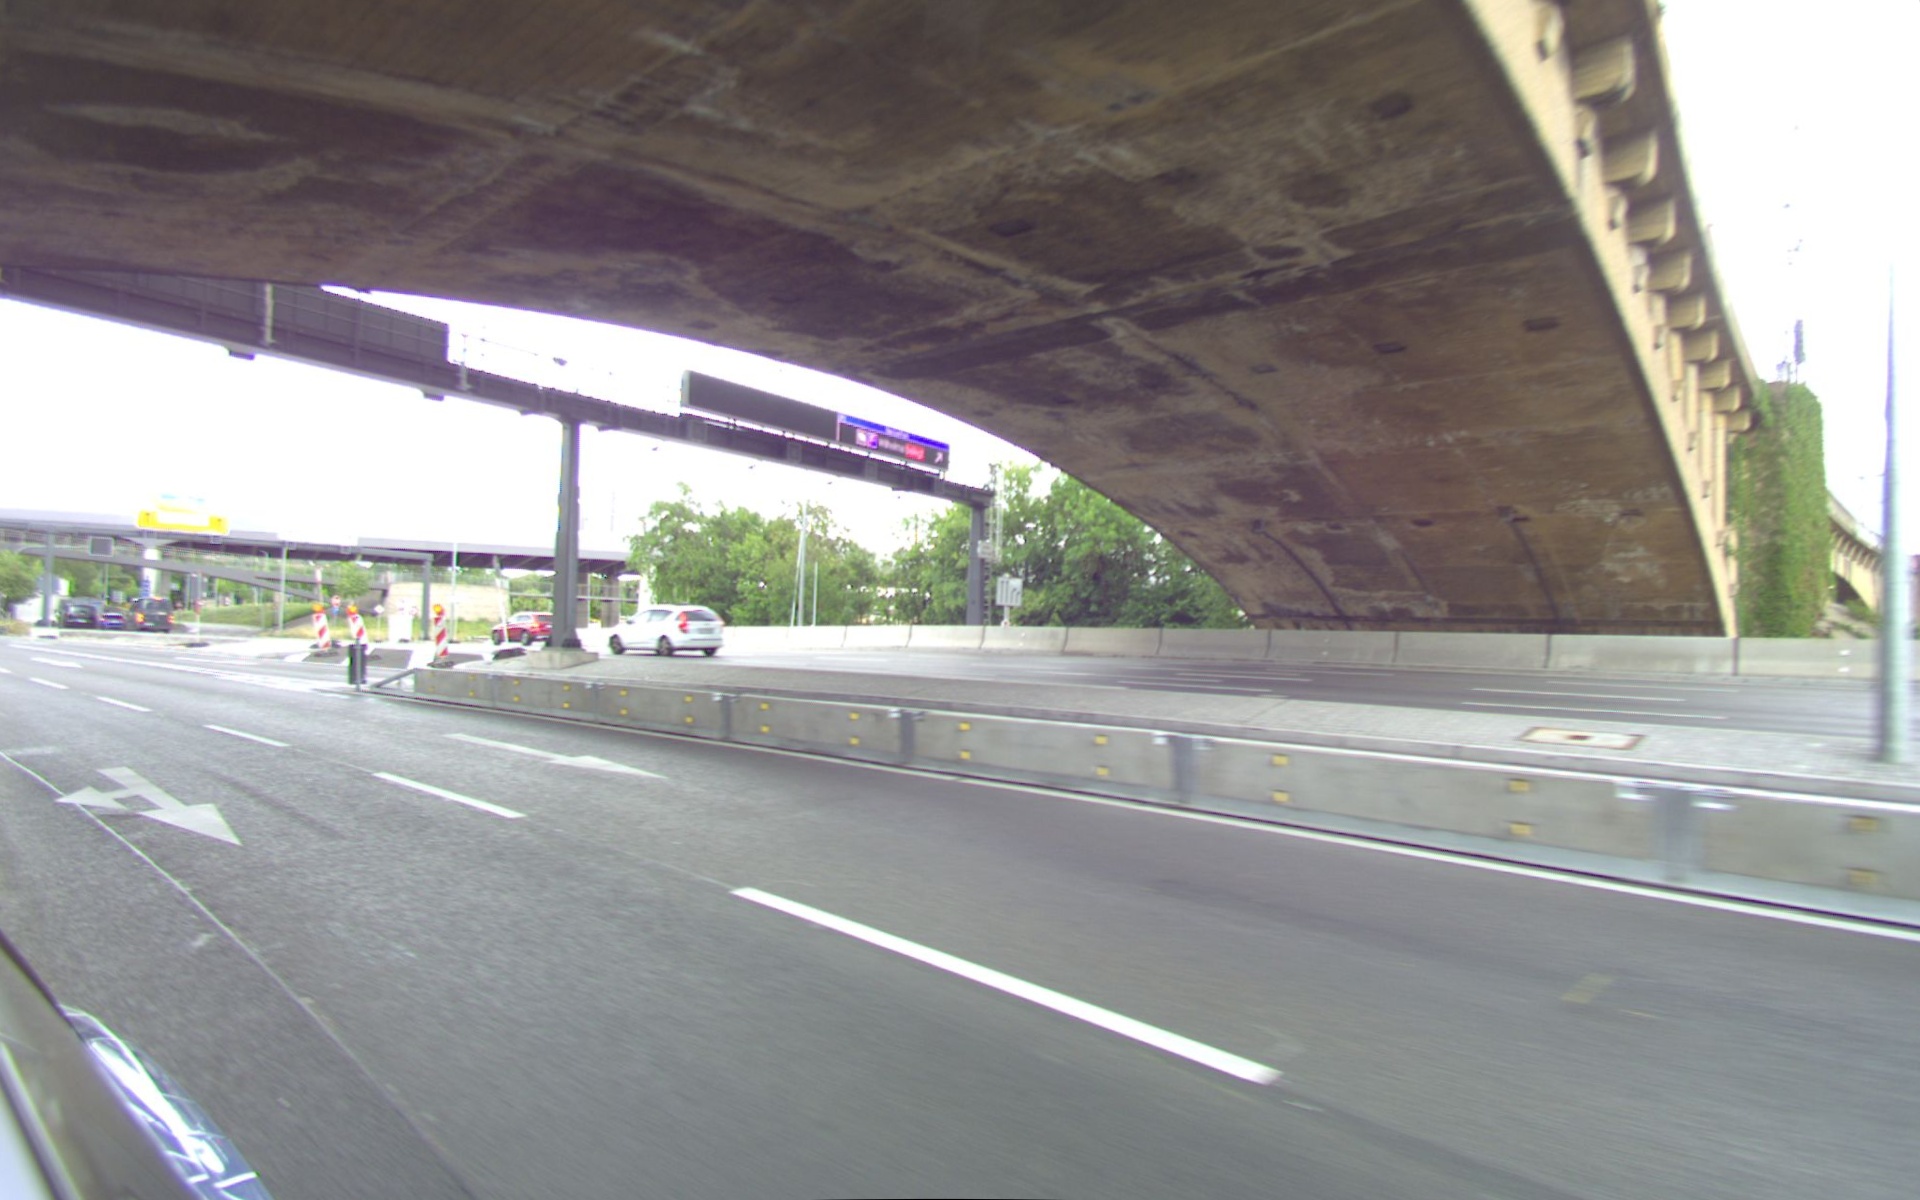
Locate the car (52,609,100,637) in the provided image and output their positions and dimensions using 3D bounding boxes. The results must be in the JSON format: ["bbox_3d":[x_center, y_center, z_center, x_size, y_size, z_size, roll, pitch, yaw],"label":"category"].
[{"bbox_3d":[-65.732,1.723,75.232,4.716,1.990,1.993,-1,-1,40],"label":"car"}]

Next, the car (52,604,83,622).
[{"bbox_3d":[-80.049,1.166,90.748,4.000,1.475,1.618,-2,0,43],"label":"car"}]

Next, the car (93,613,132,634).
[{"bbox_3d":[-74.758,2.036,89.275,3.997,1.829,1.973,-1,-1,40],"label":"car"}]

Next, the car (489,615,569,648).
[{"bbox_3d":[-21.372,1.542,50.100,4.396,1.548,1.799,-1,-1,39],"label":"car"}]

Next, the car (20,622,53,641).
[{"bbox_3d":[-86.190,2.960,94.459,4.000,1.663,1.972,-2,0,43],"label":"car"}]

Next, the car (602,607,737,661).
[{"bbox_3d":[-8.918,1.014,30.918,4.397,1.548,1.819,-1,-1,40],"label":"car"}]

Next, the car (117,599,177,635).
[{"bbox_3d":[-59.335,1.227,73.816,6.191,2.509,2.266,-1,-1,40],"label":"car"}]
